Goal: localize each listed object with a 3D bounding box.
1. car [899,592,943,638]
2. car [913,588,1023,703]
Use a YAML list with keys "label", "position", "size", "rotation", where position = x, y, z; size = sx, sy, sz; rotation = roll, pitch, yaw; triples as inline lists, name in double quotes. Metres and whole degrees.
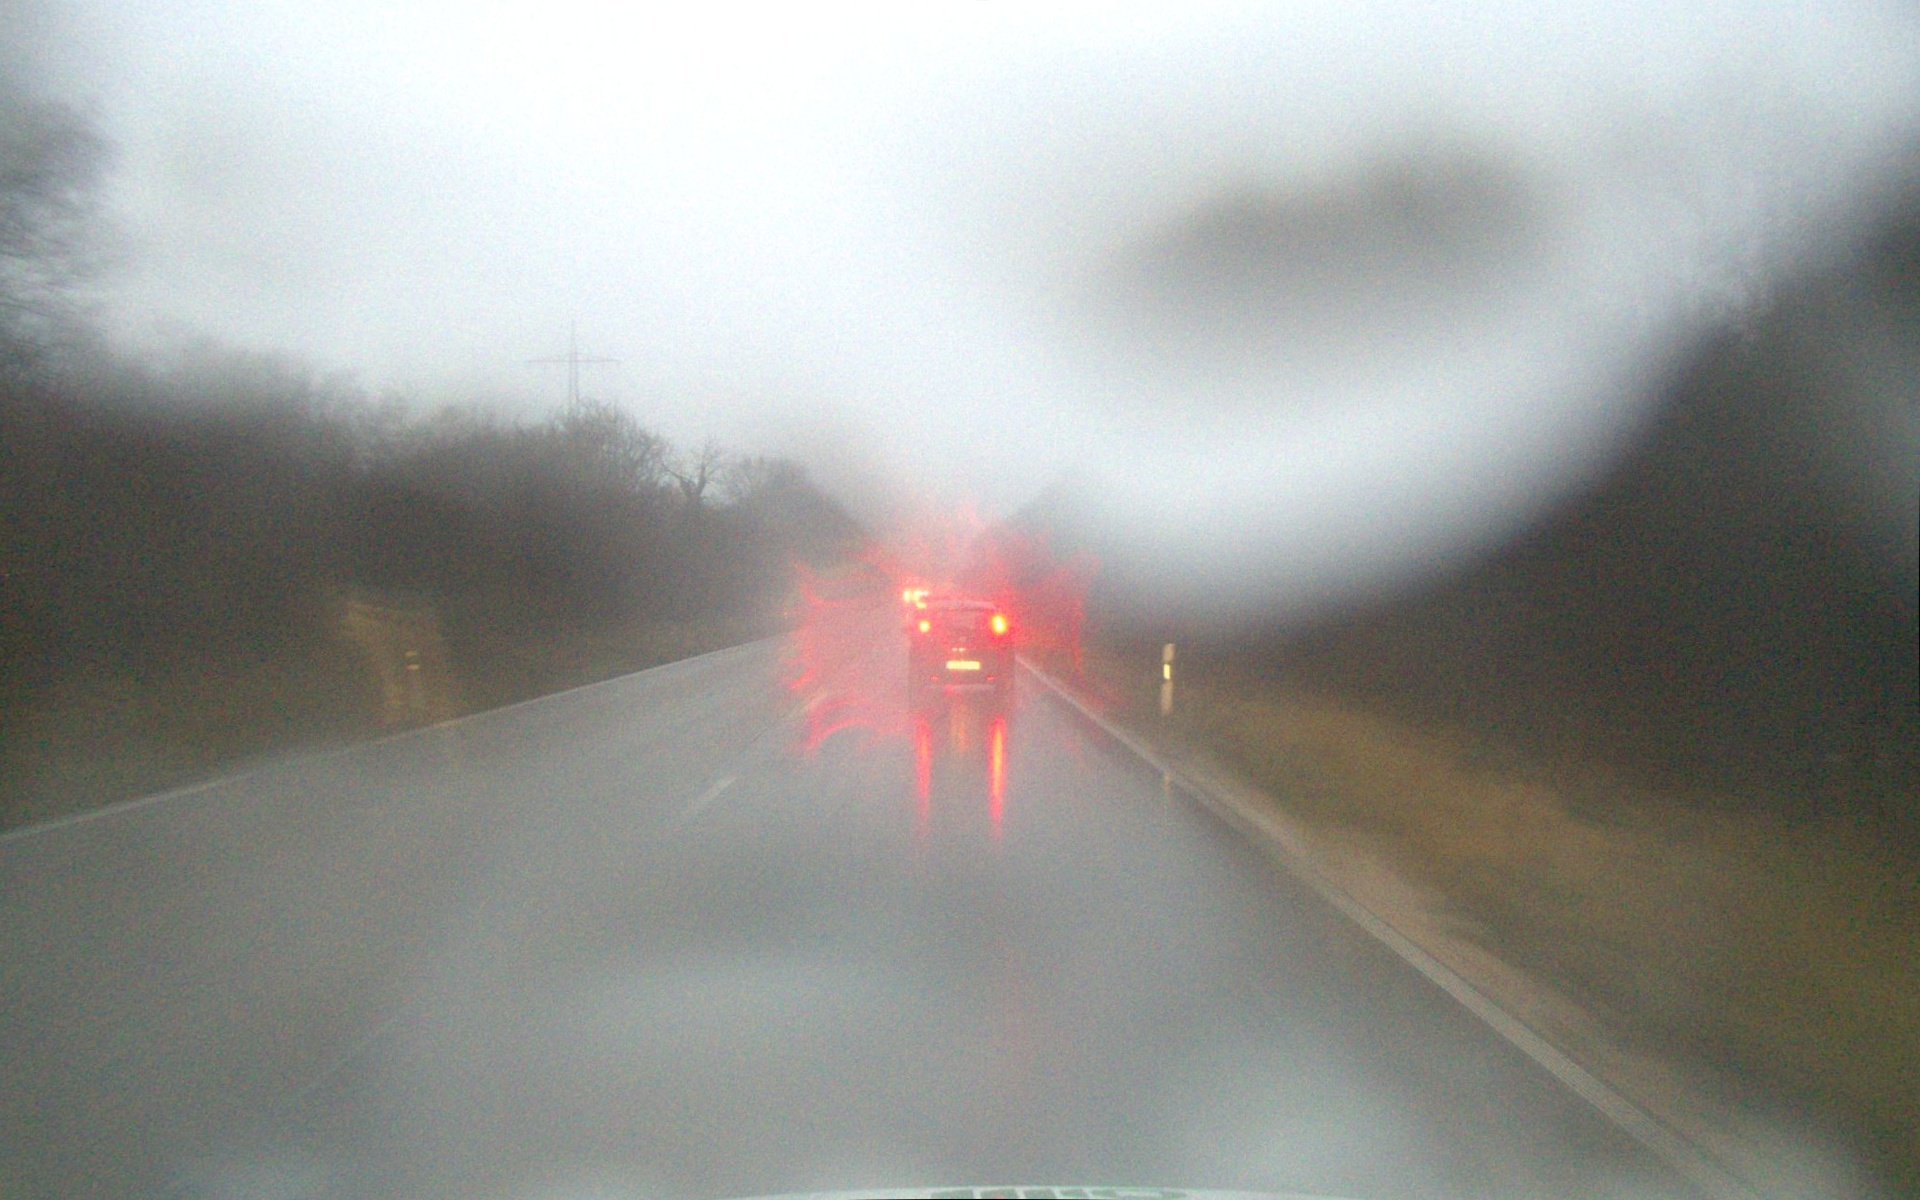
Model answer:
- label: "car"
  position: [-1.580, 0.587, 66.541]
  size: [1.698, 1.810, 3.999]
  rotation: [1, 0, -1]
- label: "car"
  position: [0.094, 0.682, 26.499]
  size: [1.614, 1.701, 3.513]
  rotation: [1, 0, -1]
